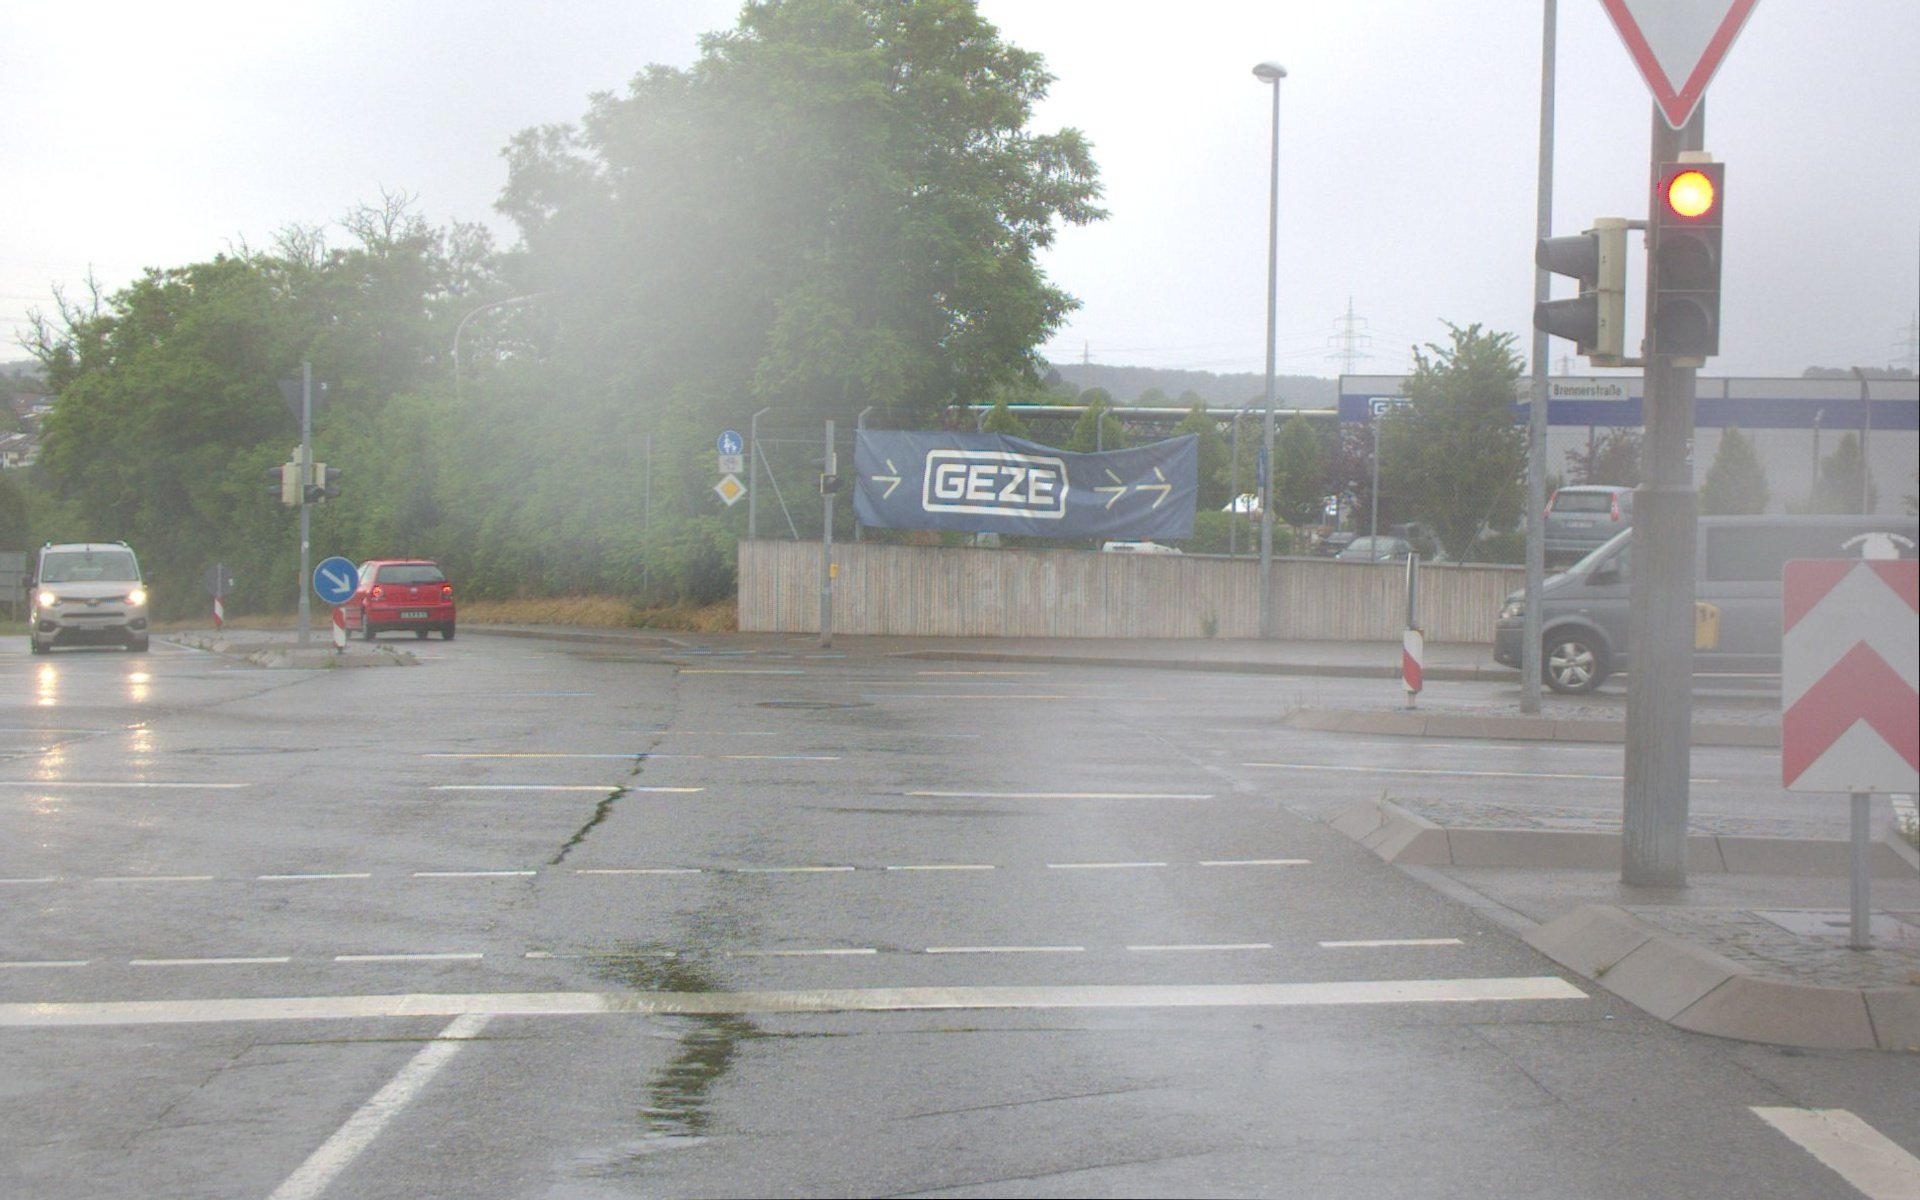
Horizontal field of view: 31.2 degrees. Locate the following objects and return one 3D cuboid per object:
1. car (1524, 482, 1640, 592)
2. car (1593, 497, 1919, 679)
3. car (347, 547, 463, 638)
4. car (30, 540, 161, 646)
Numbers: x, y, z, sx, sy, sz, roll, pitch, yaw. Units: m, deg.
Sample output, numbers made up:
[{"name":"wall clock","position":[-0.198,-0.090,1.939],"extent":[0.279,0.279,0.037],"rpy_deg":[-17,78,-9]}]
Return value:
[{"name":"car","position":[11.920,-1.209,65.748],"extent":[1.995,2.007,3.998],"rpy_deg":[1,1,13]},{"name":"car","position":[8.898,-0.151,36.876],"extent":[3.989,1.842,1.999],"rpy_deg":[1,1,14]},{"name":"car","position":[-10.124,-0.155,62.545],"extent":[1.614,1.443,3.808],"rpy_deg":[1,2,-16]},{"name":"car","position":[-14.126,-0.137,56.275],"extent":[1.993,1.612,4.001],"rpy_deg":[0,1,-14]}]
